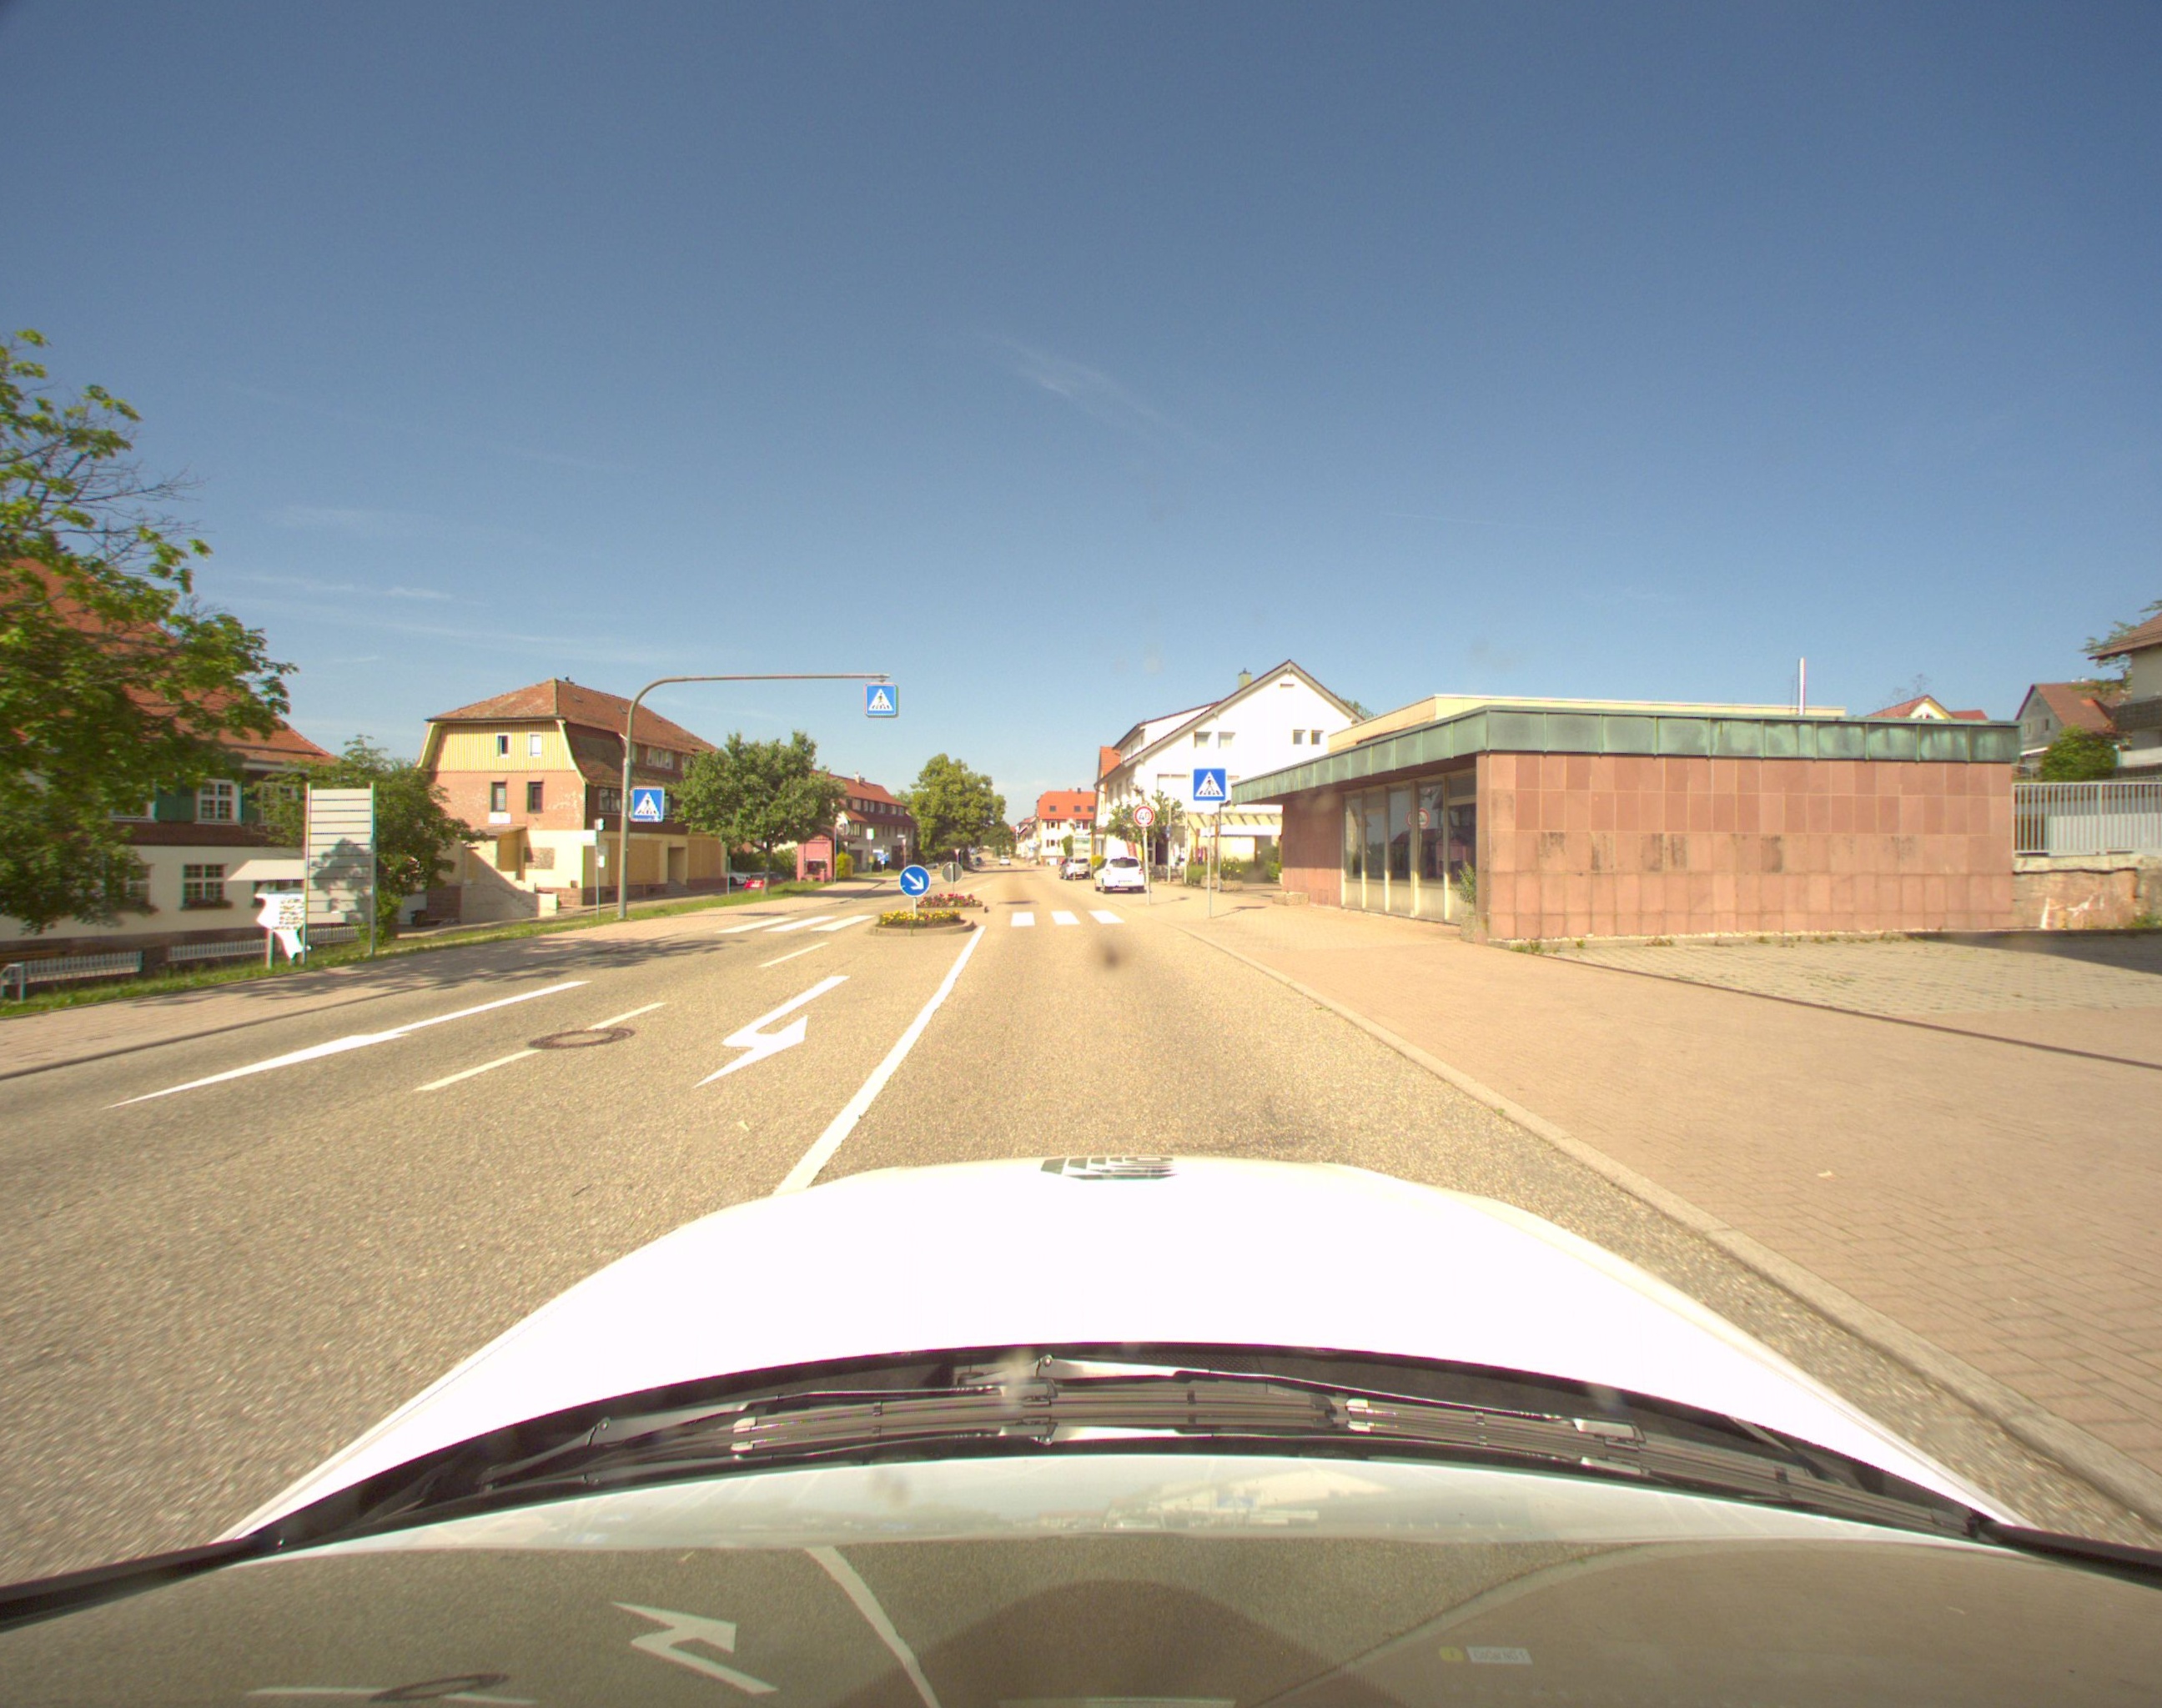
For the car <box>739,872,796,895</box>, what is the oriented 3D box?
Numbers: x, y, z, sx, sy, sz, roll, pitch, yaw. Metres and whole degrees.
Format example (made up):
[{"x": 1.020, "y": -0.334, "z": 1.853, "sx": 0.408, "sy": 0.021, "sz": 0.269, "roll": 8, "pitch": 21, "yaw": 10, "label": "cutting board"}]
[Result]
[{"x": -21.085, "y": 1.962, "z": 54.888, "sx": 1.710, "sy": 1.297, "sz": 4.010, "roll": -2, "pitch": 0, "yaw": 9, "label": "car"}]

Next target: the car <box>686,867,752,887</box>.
[{"x": -27.983, "y": 1.776, "z": 63.054, "sx": 4.282, "sy": 1.512, "sz": 1.802, "roll": 0, "pitch": -2, "yaw": 4, "label": "car"}]

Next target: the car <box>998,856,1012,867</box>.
[{"x": -14.804, "y": 1.512, "z": 158.444, "sx": 2.493, "sy": 2.013, "sz": 4.294, "roll": -3, "pitch": 0, "yaw": -7, "label": "car"}]

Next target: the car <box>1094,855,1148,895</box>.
[{"x": 1.566, "y": 0.804, "z": 32.999, "sx": 1.756, "sy": 1.423, "sz": 3.630, "roll": -3, "pitch": 0, "yaw": -3, "label": "car"}]

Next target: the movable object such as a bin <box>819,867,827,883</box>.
[{"x": -13.546, "y": 1.106, "z": 42.732, "sx": 0.304, "sy": 0.837, "sz": 0.484, "roll": -2, "pitch": -1, "yaw": -8, "label": "movable object such as a bin"}]

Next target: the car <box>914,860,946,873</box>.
[{"x": -20.358, "y": 1.670, "z": 109.776, "sx": 3.740, "sy": 1.455, "sz": 1.820, "roll": -3, "pitch": -6, "yaw": 6, "label": "car"}]

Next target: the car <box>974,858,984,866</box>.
[{"x": -19.589, "y": 1.538, "z": 156.074, "sx": 1.670, "sy": 1.533, "sz": 3.528, "roll": 3, "pitch": -1, "yaw": -6, "label": "car"}]

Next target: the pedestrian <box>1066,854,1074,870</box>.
[{"x": -1.175, "y": 0.872, "z": 89.904, "sx": 0.797, "sy": 1.784, "sz": 0.979, "roll": -2, "pitch": 0, "yaw": -1, "label": "pedestrian"}]

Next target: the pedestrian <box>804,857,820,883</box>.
[{"x": -14.846, "y": 0.871, "z": 44.941, "sx": 0.617, "sy": 1.364, "sz": 0.672, "roll": -3, "pitch": 1, "yaw": -7, "label": "pedestrian"}]

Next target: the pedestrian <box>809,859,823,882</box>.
[{"x": -14.814, "y": 0.911, "z": 45.535, "sx": 0.629, "sy": 1.253, "sz": 0.422, "roll": -3, "pitch": 0, "yaw": -8, "label": "pedestrian"}]

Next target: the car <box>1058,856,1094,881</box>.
[{"x": -0.356, "y": 0.883, "z": 51.439, "sx": 1.635, "sy": 1.420, "sz": 3.923, "roll": -2, "pitch": 0, "yaw": -9, "label": "car"}]
